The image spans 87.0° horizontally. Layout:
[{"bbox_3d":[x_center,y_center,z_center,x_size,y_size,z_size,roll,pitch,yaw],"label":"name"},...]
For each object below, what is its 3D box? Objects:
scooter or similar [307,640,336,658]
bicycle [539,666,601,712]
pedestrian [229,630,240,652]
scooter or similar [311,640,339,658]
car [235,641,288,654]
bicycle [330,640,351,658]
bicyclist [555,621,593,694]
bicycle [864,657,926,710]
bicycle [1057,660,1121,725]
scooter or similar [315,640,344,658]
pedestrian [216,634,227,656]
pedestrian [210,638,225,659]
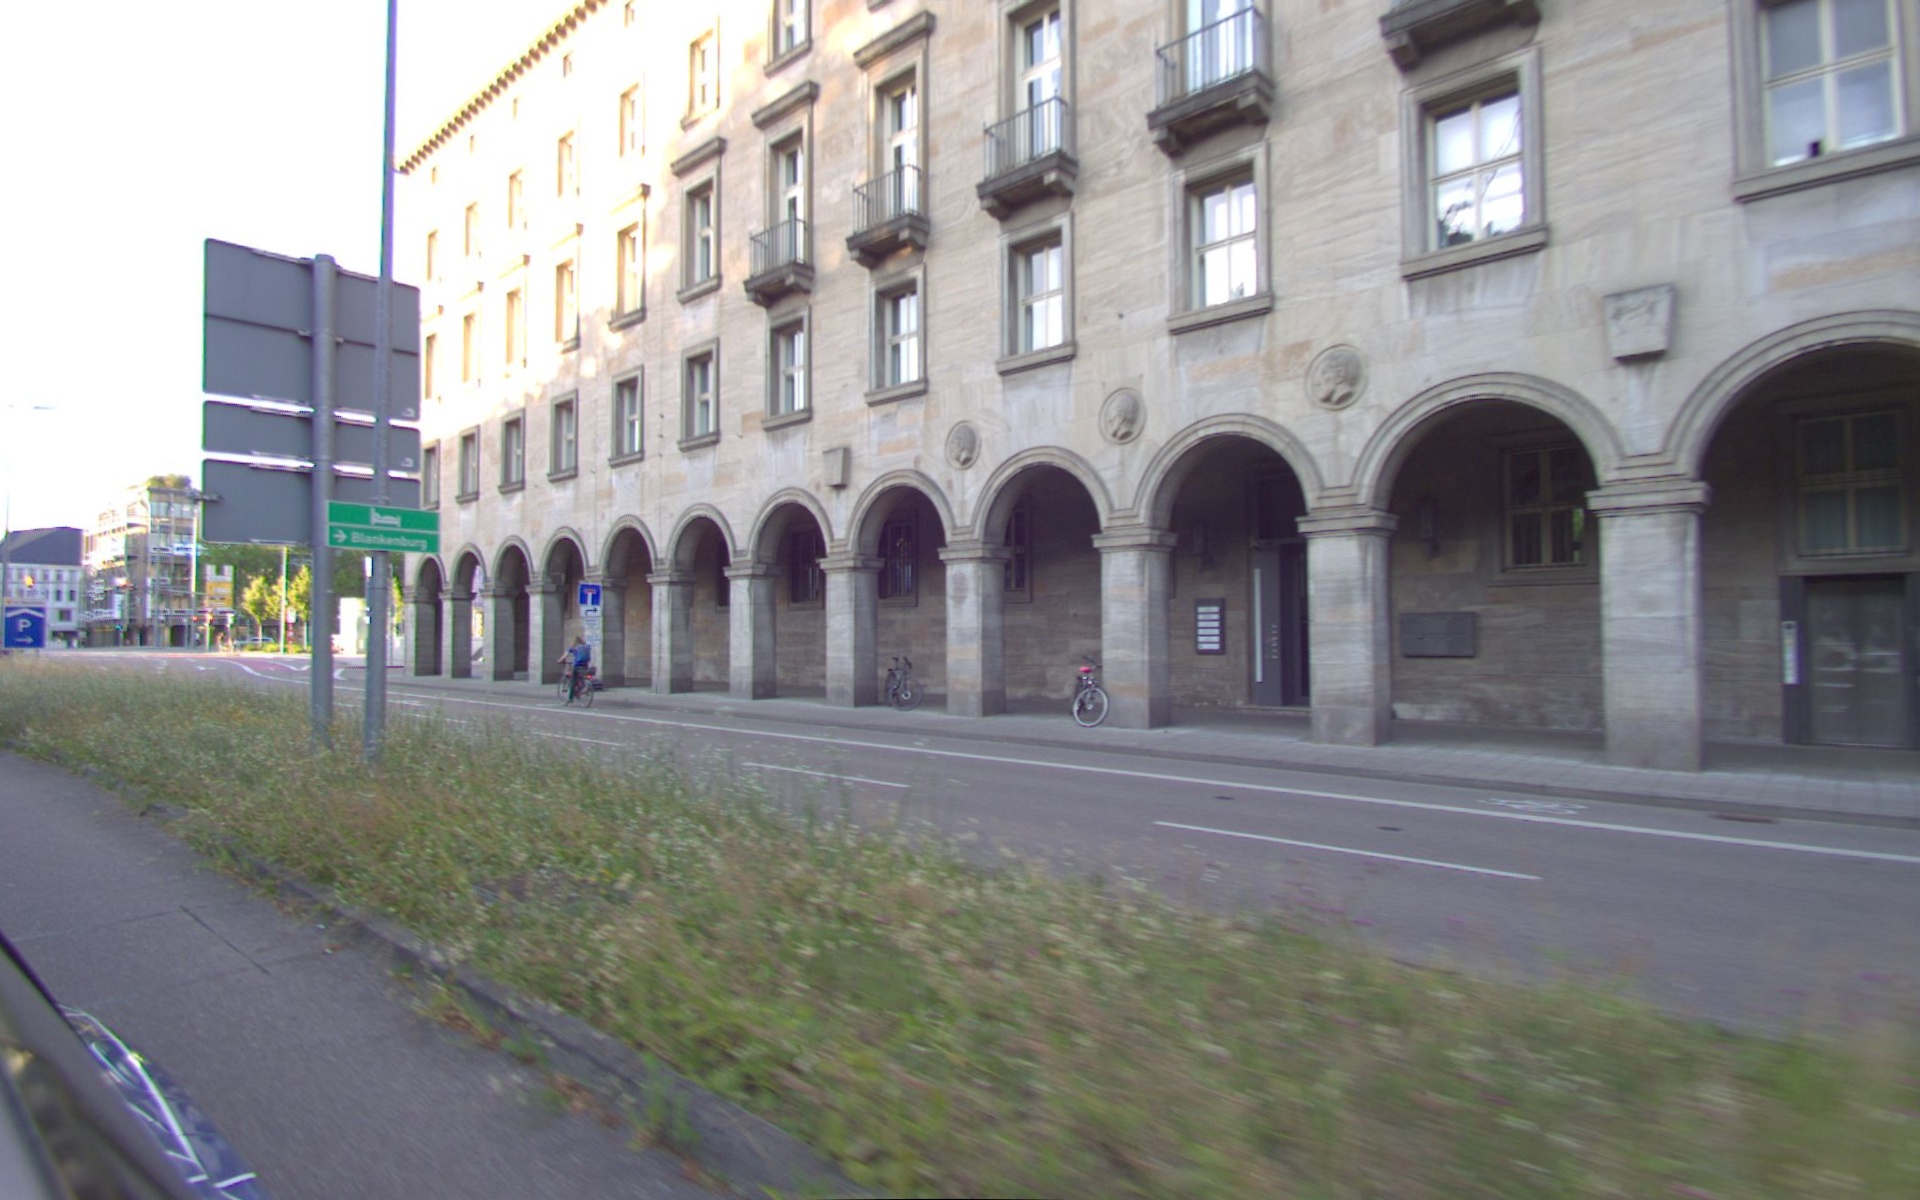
[{"bbox_3d":[-49.009,3.759,77.700,0.500,1.315,1.841,-2,-3,36],"label":"scooter or similar"},{"bbox_3d":[-9.346,2.105,24.225,2.004,1.013,0.535,-2,-3,42],"label":"bicycle"},{"bbox_3d":[-64.245,3.612,89.631,0.648,1.948,0.652,-4,-4,44],"label":"pedestrian"},{"bbox_3d":[-48.590,3.754,77.411,0.417,1.315,1.771,-2,-3,36],"label":"scooter or similar"},{"bbox_3d":[-87.611,5.989,126.939,1.999,1.597,5.092,-3,-3,42],"label":"car"},{"bbox_3d":[-46.277,3.636,75.612,2.508,1.334,0.611,-2,-3,41],"label":"bicycle"},{"bbox_3d":[-9.198,1.364,24.115,0.748,1.706,0.530,-2,-3,43],"label":"bicyclist"},{"bbox_3d":[-1.371,1.703,21.062,0.470,1.013,2.011,1,-3,-29],"label":"bicycle"},{"bbox_3d":[2.199,1.572,17.500,0.471,1.013,2.009,0,-2,-12],"label":"bicycle"},{"bbox_3d":[-47.864,3.720,76.837,0.422,1.315,1.818,-2,-3,36],"label":"scooter or similar"},{"bbox_3d":[-65.398,4.018,89.585,0.775,1.948,0.624,-2,-3,43],"label":"pedestrian"},{"bbox_3d":[-64.927,4.216,88.506,0.776,1.851,0.862,-3,-3,43],"label":"pedestrian"}]
